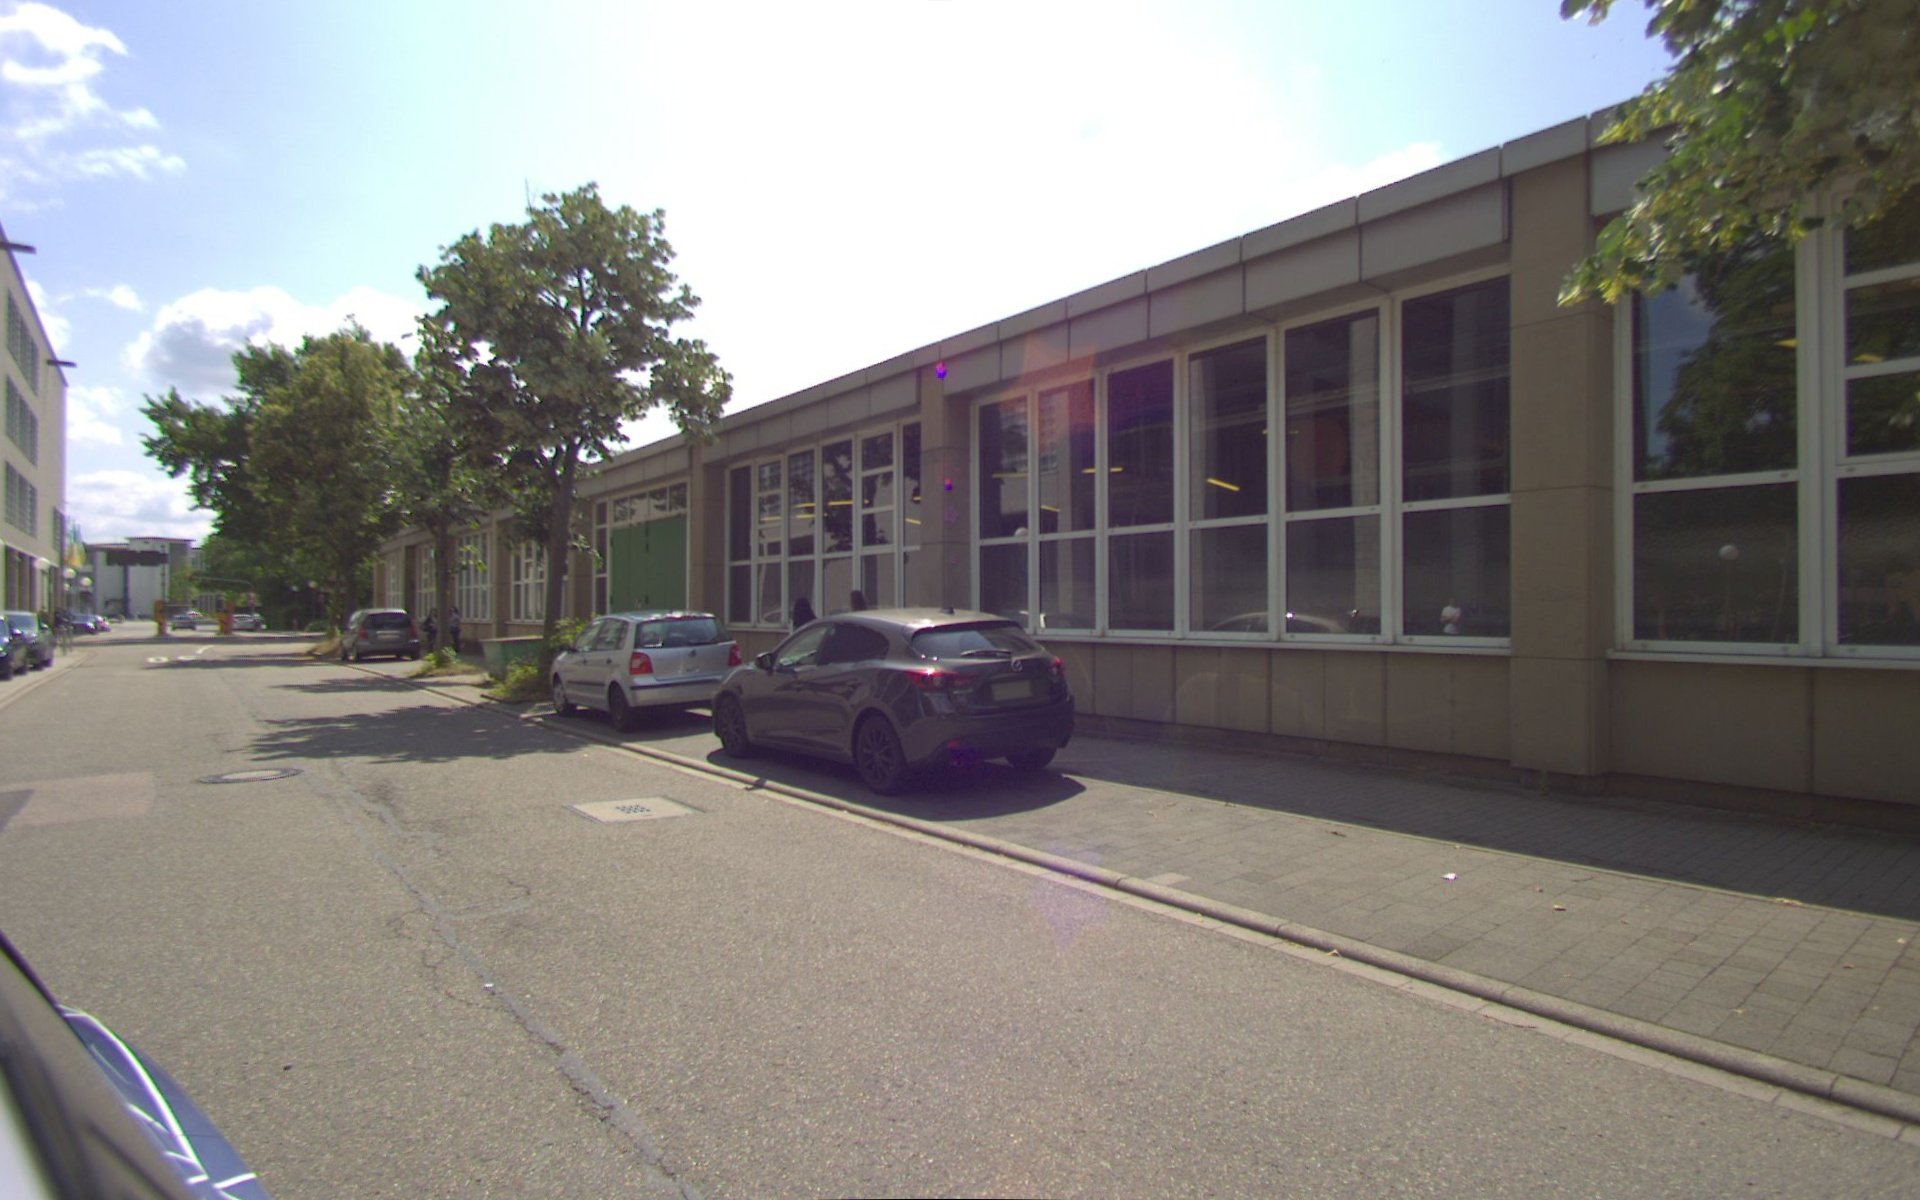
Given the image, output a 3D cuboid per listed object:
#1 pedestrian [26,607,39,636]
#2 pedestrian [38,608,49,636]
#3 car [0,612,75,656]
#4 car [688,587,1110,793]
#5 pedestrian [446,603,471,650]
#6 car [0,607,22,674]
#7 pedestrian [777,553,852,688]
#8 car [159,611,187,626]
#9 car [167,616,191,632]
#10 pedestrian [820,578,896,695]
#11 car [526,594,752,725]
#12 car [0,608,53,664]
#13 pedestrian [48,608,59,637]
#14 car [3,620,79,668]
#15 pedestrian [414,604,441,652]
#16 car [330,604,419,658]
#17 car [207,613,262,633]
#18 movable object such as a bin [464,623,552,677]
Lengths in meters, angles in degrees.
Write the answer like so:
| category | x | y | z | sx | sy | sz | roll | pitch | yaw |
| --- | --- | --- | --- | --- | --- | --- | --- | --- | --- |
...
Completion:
| category | x | y | z | sx | sy | sz | roll | pitch | yaw |
| --- | --- | --- | --- | --- | --- | --- | --- | --- | --- |
| pedestrian | -53.666 | 1.242 | 58.543 | 0.434 | 1.642 | 0.571 | 4 | -4 | -37 |
| pedestrian | -53.277 | 1.281 | 58.828 | 0.377 | 1.642 | 0.520 | 4 | -4 | -37 |
| car | -31.539 | 1.168 | 34.504 | 1.814 | 1.409 | 3.885 | 2 | -3 | -38 |
| car | -0.807 | 0.691 | 9.411 | 1.703 | 1.446 | 4.297 | -1 | -1 | -39 |
| pedestrian | -17.041 | 0.904 | 34.405 | 0.596 | 1.593 | 0.552 | 3 | -3 | -41 |
| car | -22.162 | 0.892 | 22.307 | 1.814 | 1.409 | 3.885 | 2 | -3 | -38 |
| pedestrian | -1.953 | 0.268 | 13.570 | 0.796 | 1.741 | 0.594 | -1 | -1 | 37 |
| car | -81.924 | 1.948 | 105.305 | 3.678 | 1.460 | 1.779 | -2 | 2 | 44 |
| car | -77.024 | 2.326 | 99.777 | 1.776 | 1.460 | 3.683 | -3 | 1 | -39 |
| pedestrian | -1.408 | 0.492 | 13.963 | 0.796 | 1.553 | 0.656 | -1 | -1 | 37 |
| car | -4.463 | 0.717 | 13.758 | 1.609 | 1.460 | 3.759 | -3 | 1 | -39 |
| car | -25.399 | 0.964 | 26.742 | 1.814 | 1.409 | 3.885 | 2 | -3 | -38 |
| pedestrian | -52.927 | 1.308 | 59.094 | 0.377 | 1.642 | 0.520 | 4 | -4 | -37 |
| car | -34.730 | 1.662 | 38.340 | 1.771 | 1.714 | 4.008 | 4 | -4 | -38 |
| pedestrian | -17.799 | 0.948 | 33.852 | 0.596 | 1.593 | 0.552 | 1 | -3 | -8 |
| car | -18.133 | 0.922 | 31.288 | 1.776 | 1.460 | 3.683 | -3 | 1 | -39 |
| car | -61.705 | 1.963 | 86.091 | 3.619 | 1.460 | 1.807 | -4 | 1 | -40 |
| movable object such as a bin | -9.365 | 1.013 | 20.945 | 1.275 | 0.992 | 1.699 | -3 | 0 | -38 |
